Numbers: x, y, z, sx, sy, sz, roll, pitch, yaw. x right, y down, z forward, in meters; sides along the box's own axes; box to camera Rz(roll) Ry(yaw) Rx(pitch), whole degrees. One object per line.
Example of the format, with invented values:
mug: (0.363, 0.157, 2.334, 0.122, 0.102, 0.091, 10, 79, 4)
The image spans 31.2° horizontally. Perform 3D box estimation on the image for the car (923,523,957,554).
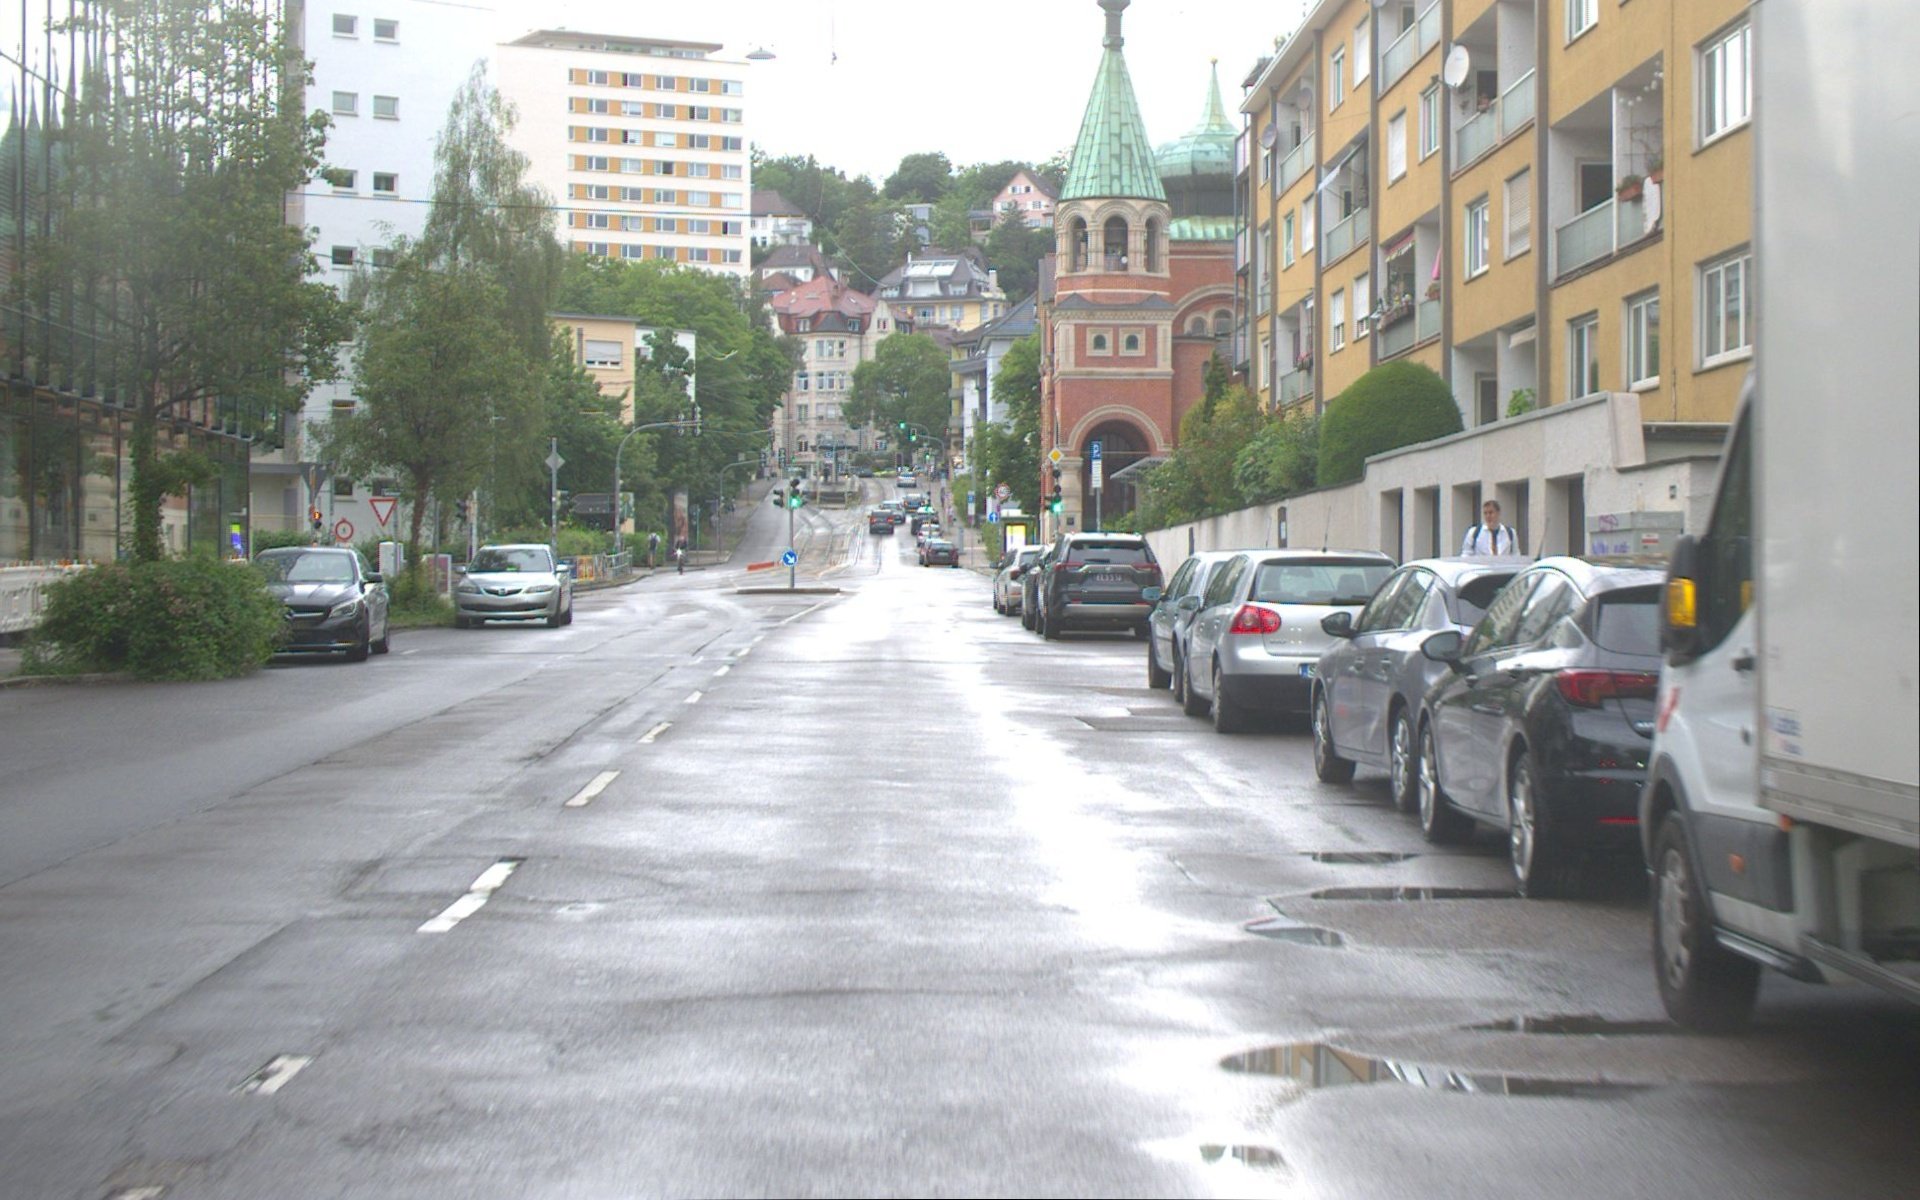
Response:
car: (-1.085, -3.378, 188.509, 1.732, 1.648, 4.000, 0, 1, 2)

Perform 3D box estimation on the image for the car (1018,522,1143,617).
car: (2.018, -0.538, 58.595, 1.817, 1.517, 4.076, 2, 1, -2)

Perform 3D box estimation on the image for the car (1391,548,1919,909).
car: (3.120, 0.487, 15.808, 1.663, 1.416, 4.043, 0, 1, -1)

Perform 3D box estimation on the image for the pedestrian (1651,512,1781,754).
pedestrian: (5.206, 0.217, 23.711, 0.664, 1.598, 0.744, -4, 1, 3)

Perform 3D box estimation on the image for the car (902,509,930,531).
car: (-3.097, -5.603, 241.457, 1.908, 1.505, 4.000, 2, 1, -2)

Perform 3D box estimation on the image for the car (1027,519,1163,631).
car: (2.081, -0.423, 54.040, 1.817, 1.647, 4.076, 2, 1, -2)

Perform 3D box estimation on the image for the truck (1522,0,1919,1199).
truck: (3.247, -0.249, 8.415, 2.469, 3.161, 7.036, 0, 1, -1)

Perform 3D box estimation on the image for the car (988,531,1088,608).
car: (1.599, -0.659, 71.543, 1.817, 1.517, 4.076, 2, 1, -2)

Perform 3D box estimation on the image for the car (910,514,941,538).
car: (-2.281, -4.838, 225.251, 1.892, 1.505, 4.000, 2, 1, -2)

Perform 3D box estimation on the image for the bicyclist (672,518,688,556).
bicyclist: (-12.245, -2.769, 150.521, 0.677, 1.655, 0.650, 0, 0, -4)

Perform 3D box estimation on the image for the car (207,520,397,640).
car: (-8.374, -0.260, 44.117, 1.803, 1.445, 4.659, -1, 0, -4)

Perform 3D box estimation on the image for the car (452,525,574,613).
car: (-7.710, -0.536, 59.619, 1.709, 1.445, 4.295, -1, 0, -2)

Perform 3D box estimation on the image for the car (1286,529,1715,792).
car: (3.121, 0.327, 20.592, 1.663, 1.416, 3.922, 0, 0, -5)

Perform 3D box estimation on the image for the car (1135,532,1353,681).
car: (2.755, 0.034, 34.080, 1.663, 1.395, 3.922, 0, 1, -3)

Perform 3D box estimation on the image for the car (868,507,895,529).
car: (-5.548, -5.768, 242.478, 1.908, 1.505, 4.000, 1, 1, -2)

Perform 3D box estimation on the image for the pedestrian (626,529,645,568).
pedestrian: (-15.912, -2.533, 168.706, 0.887, 1.886, 0.923, 0, 1, -7)

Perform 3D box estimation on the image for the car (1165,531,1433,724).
car: (2.741, 0.189, 28.583, 1.663, 1.497, 3.922, 0, 1, -3)

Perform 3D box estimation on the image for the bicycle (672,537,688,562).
bicycle: (-12.256, -2.206, 150.558, 0.677, 1.104, 1.800, 0, 0, -4)

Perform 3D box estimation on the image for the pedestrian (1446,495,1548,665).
pedestrian: (5.634, -0.213, 36.059, 0.767, 1.726, 0.743, -1, 3, 32)
